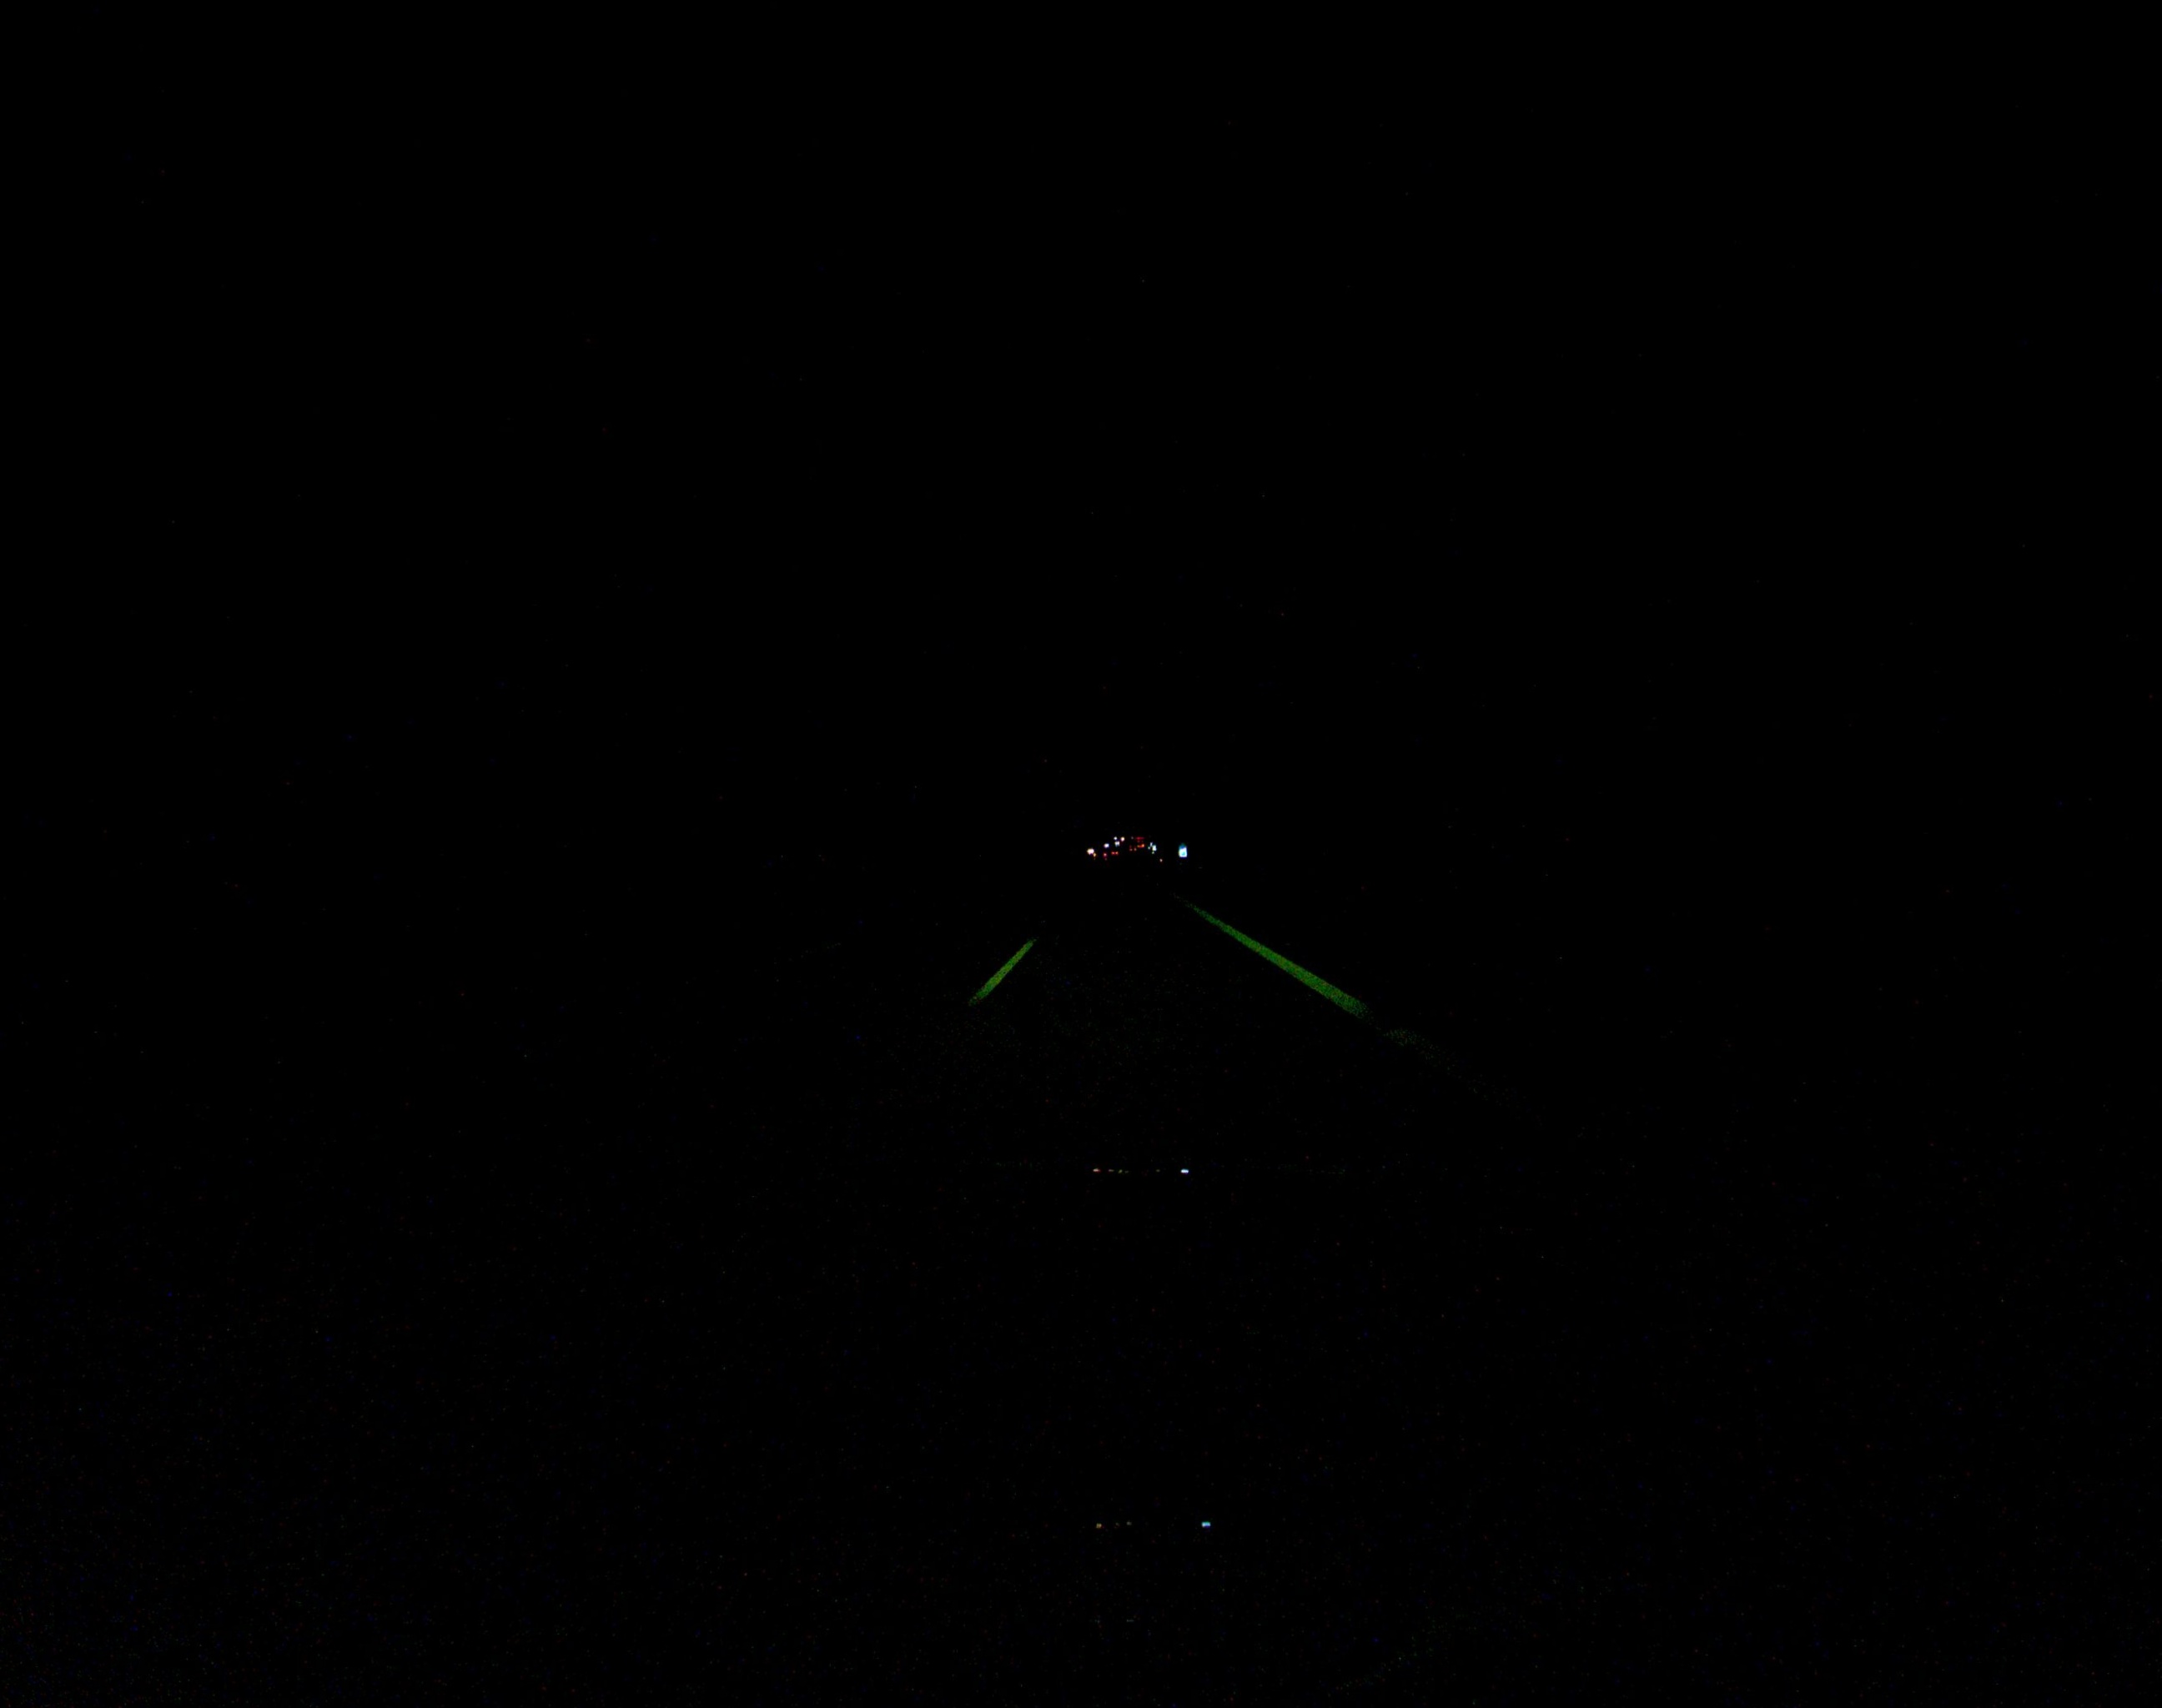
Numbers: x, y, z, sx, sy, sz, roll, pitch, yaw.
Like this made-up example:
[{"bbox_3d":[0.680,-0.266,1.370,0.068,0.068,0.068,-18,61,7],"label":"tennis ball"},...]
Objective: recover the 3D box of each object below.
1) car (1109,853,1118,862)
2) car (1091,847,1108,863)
[{"bbox_3d":[10.463,1.200,261.419,2.776,2.733,6.301,-1,-1,2],"label":"car"},{"bbox_3d":[3.348,0.212,146.185,2.776,2.733,6.301,-1,-1,2],"label":"car"}]
